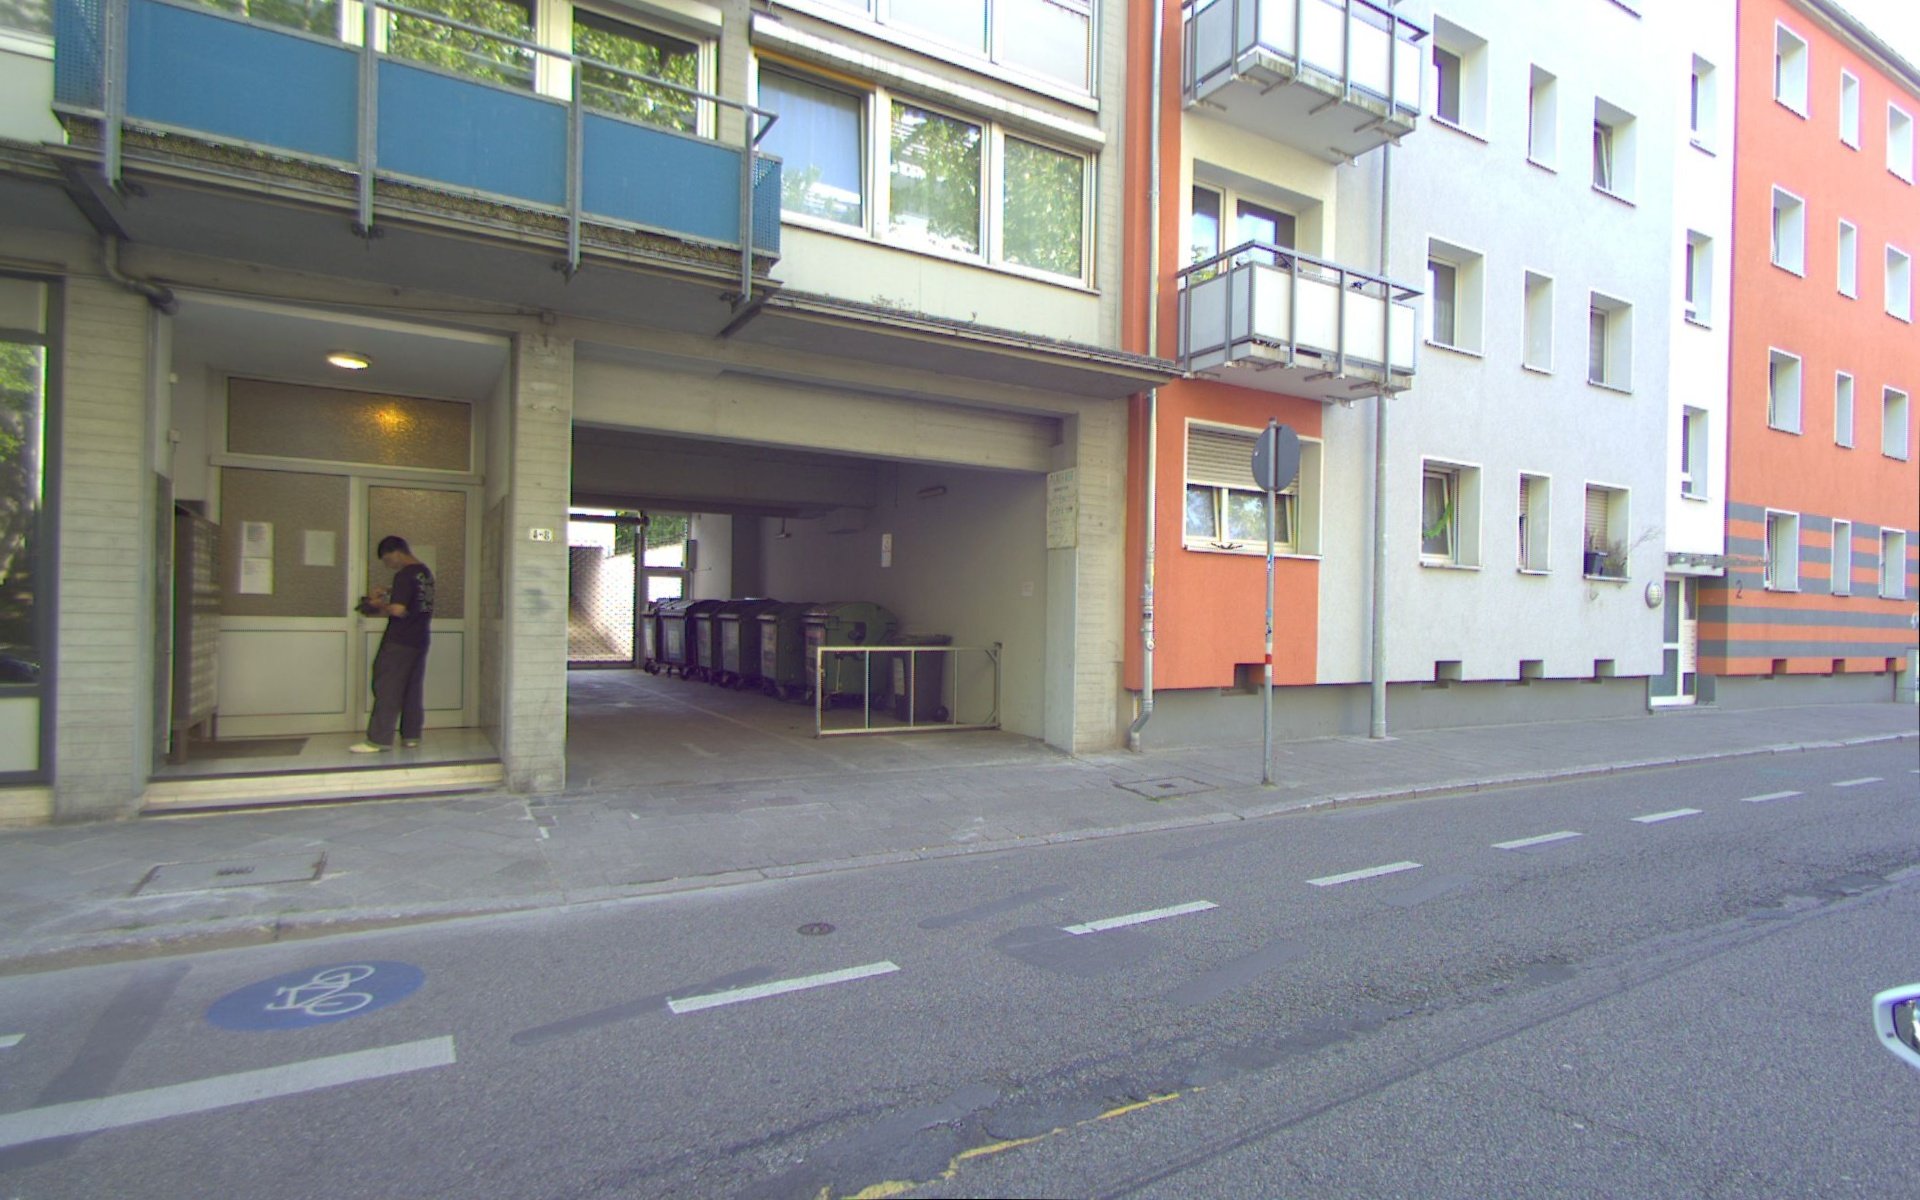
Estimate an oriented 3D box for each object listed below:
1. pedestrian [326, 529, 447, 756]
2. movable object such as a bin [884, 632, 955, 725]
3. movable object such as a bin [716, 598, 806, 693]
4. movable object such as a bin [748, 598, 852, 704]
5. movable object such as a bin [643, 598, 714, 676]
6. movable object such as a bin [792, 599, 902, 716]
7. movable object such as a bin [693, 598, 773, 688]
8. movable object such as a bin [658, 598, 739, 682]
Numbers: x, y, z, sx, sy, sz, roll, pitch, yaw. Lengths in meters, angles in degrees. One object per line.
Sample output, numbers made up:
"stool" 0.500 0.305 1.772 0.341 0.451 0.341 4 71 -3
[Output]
"pedestrian" -4.576 0.328 8.050 0.537 1.736 0.662 1 0 3
"movable object such as a bin" -0.507 0.954 12.454 0.687 1.094 0.579 1 0 -30
"movable object such as a bin" -3.307 0.738 16.636 1.167 1.503 1.073 1 0 -30
"movable object such as a bin" -2.431 0.744 15.138 1.167 1.503 1.252 1 0 -30
"movable object such as a bin" -5.578 0.724 19.898 1.167 1.503 0.819 1 0 -30
"movable object such as a bin" -1.570 0.753 13.787 1.086 1.503 1.251 1 0 -30
"movable object such as a bin" -4.000 0.736 17.658 1.080 1.503 1.159 1 0 -30
"movable object such as a bin" -4.883 0.724 18.692 1.167 1.503 1.215 1 0 -30
